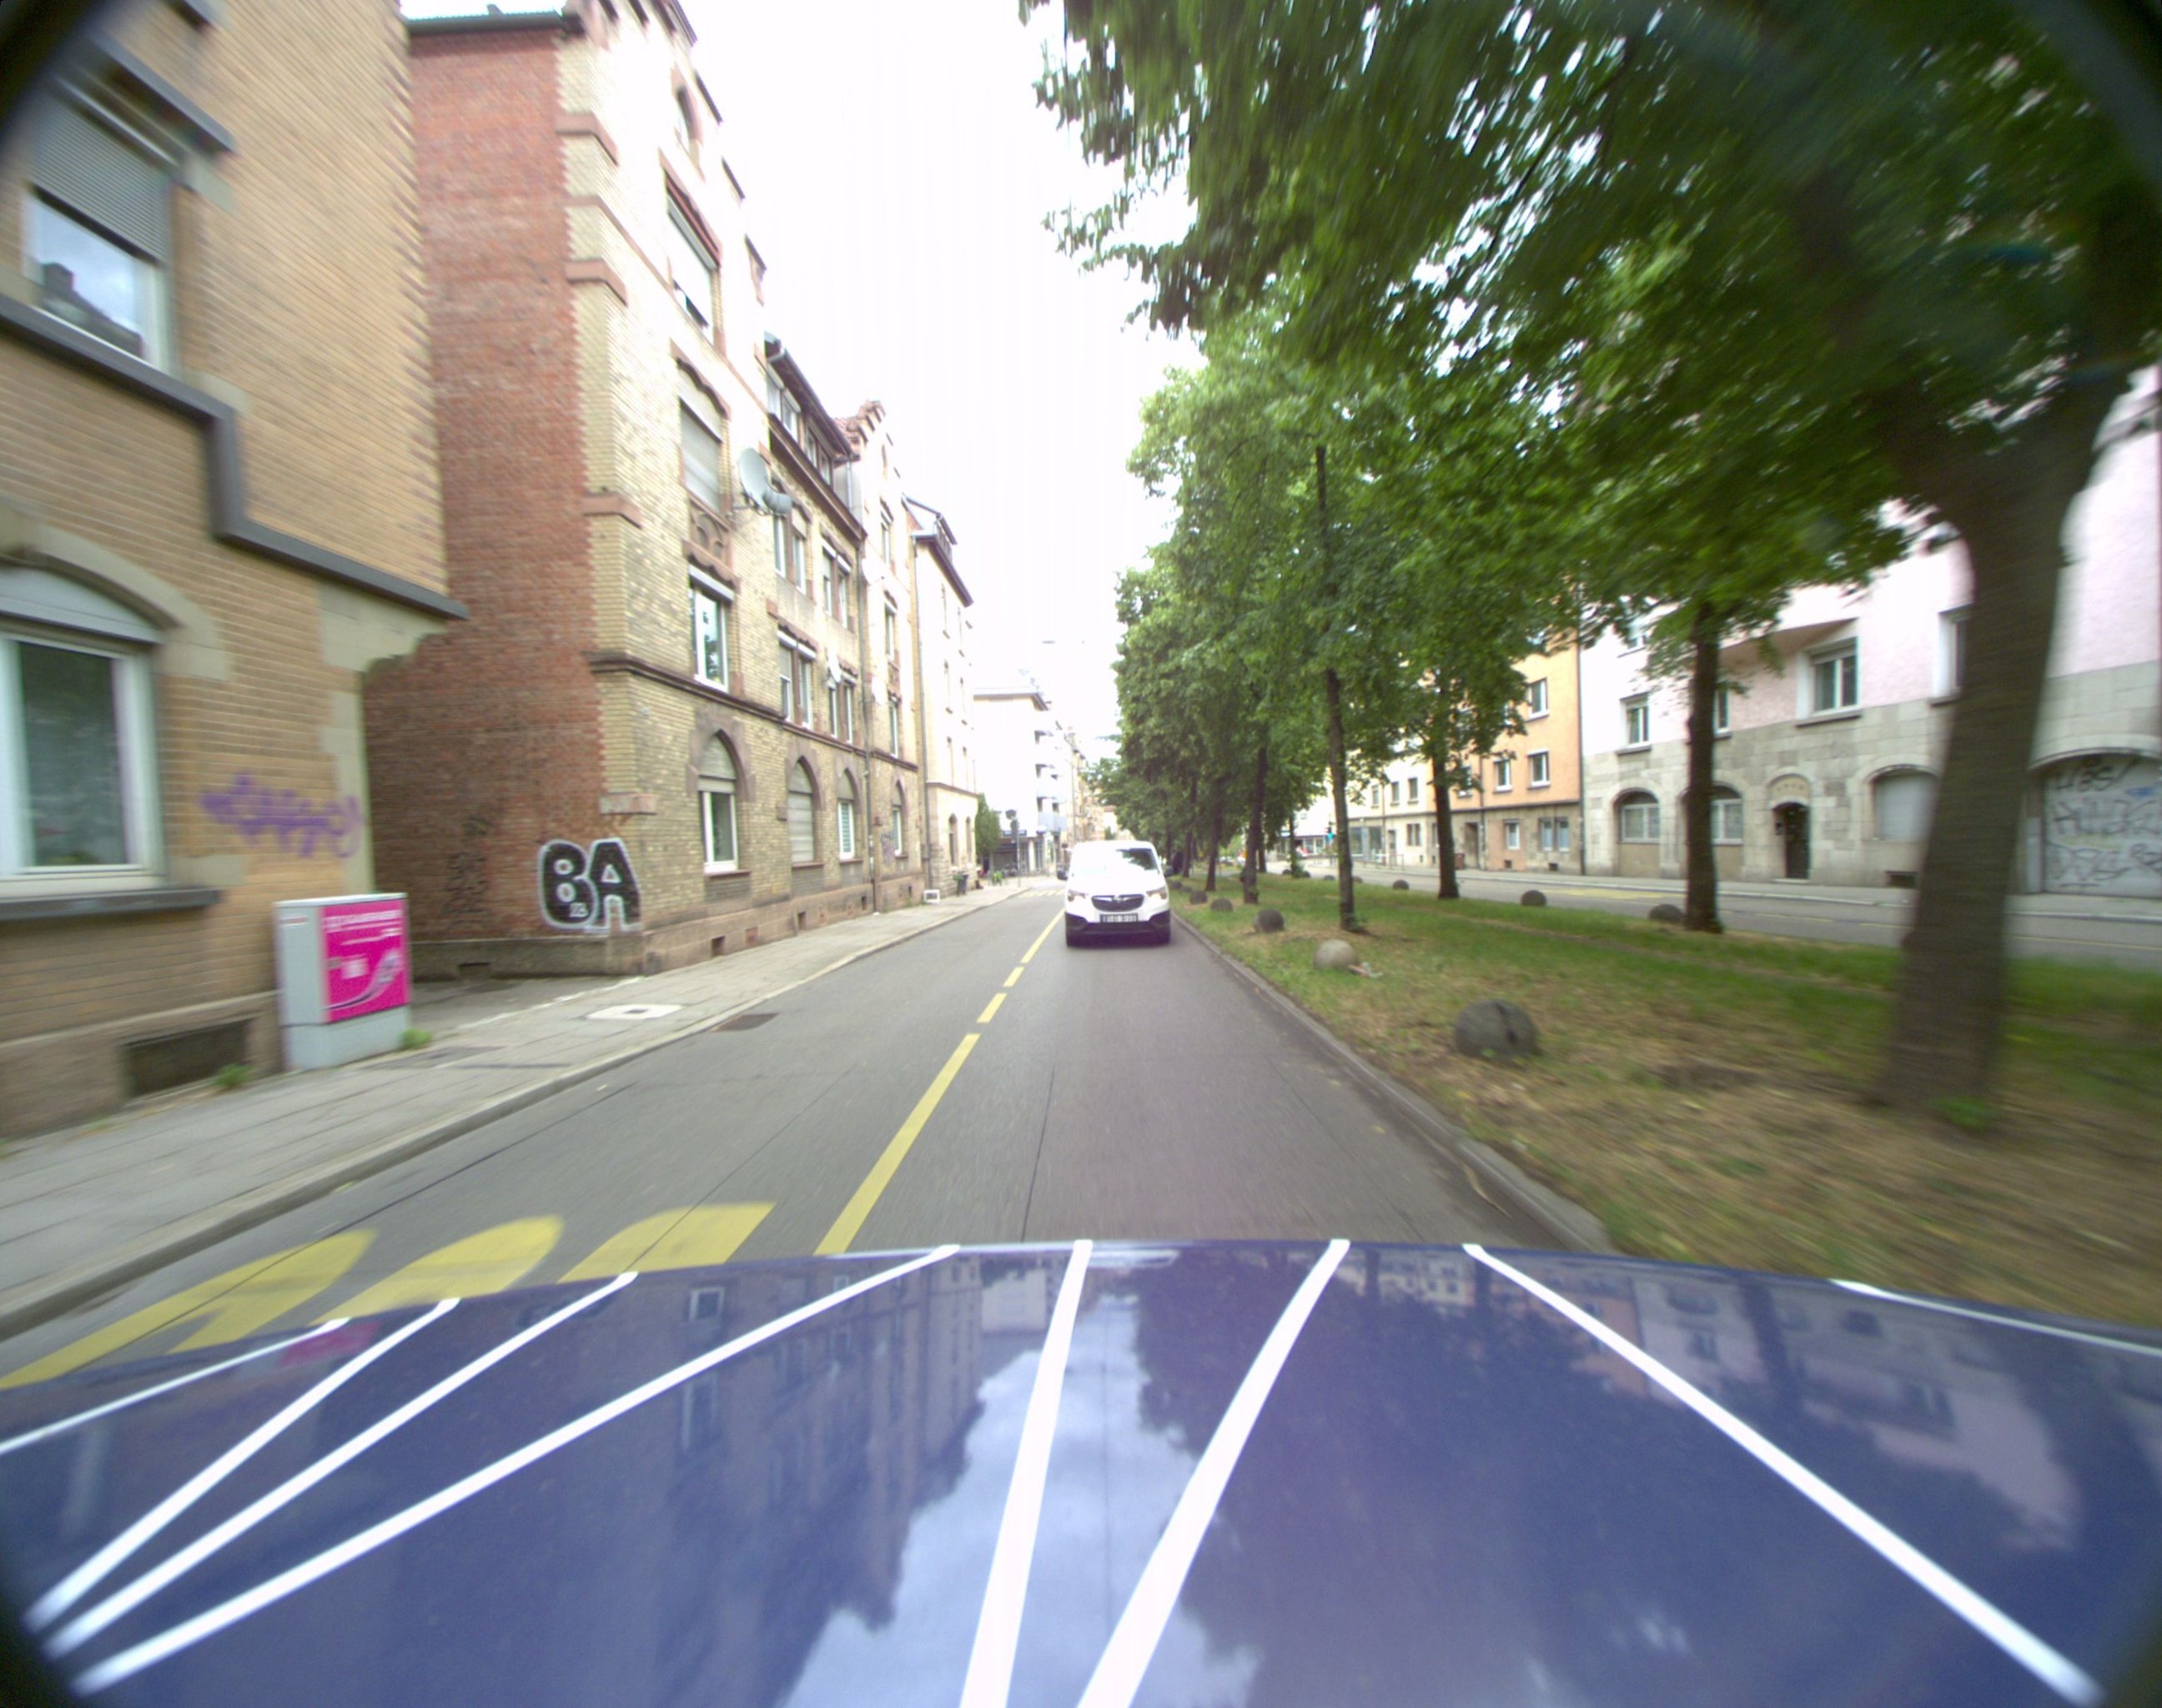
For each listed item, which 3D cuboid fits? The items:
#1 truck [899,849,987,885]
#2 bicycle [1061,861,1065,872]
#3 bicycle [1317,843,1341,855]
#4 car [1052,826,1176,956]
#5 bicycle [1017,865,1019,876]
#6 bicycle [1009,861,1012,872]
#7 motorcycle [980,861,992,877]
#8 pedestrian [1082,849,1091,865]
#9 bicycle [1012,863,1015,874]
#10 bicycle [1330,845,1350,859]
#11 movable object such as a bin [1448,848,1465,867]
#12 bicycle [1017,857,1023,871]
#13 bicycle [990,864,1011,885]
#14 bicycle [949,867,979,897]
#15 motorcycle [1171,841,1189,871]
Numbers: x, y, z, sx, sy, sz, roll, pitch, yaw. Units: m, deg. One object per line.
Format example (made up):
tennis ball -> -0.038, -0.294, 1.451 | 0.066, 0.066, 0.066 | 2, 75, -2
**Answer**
truck -> -9.938, 0.959, 55.162 | 5.858, 2.093, 2.554 | -5, -2, -4
bicycle -> -1.562, 1.071, 65.444 | 0.154, 0.902, 1.286 | -3, 0, 8
bicycle -> 25.940, -0.552, 79.494 | 2.345, 1.094, 0.775 | -3, 1, 22
car -> 0.634, 0.567, 13.229 | 1.745, 1.830, 4.345 | -2, -1, 4
bicycle -> -5.192, 1.373, 62.623 | 0.120, 0.902, 1.284 | -3, 0, -4
bicycle -> -5.891, 1.043, 63.783 | 0.184, 0.902, 1.236 | -3, 0, -4
motorcycle -> -7.609, 1.204, 61.175 | 0.591, 1.190, 1.931 | 0, 0, 4
pedestrian -> 0.725, 0.362, 98.858 | 1.083, 2.002, 1.204 | -3, 1, 4
bicycle -> -5.586, 1.201, 62.951 | 0.141, 0.902, 1.249 | -2, 1, -4
bicycle -> 23.058, -0.175, 67.649 | 0.684, 1.142, 2.057 | -4, -1, -9
movable object such as a bin -> 19.510, 0.183, 39.464 | 0.513, 0.921, 0.779 | -3, 0, 3
bicycle -> -5.129, 0.832, 63.858 | 0.400, 1.197, 1.284 | -4, 0, -4
bicycle -> -4.613, 1.141, 43.691 | 0.683, 1.142, 2.941 | -2, -1, 4
bicycle -> -5.022, 1.180, 32.741 | 0.683, 1.143, 2.483 | -2, 1, 4
motorcycle -> 5.453, 0.139, 41.876 | 0.825, 1.521, 2.625 | 0, -2, 4
